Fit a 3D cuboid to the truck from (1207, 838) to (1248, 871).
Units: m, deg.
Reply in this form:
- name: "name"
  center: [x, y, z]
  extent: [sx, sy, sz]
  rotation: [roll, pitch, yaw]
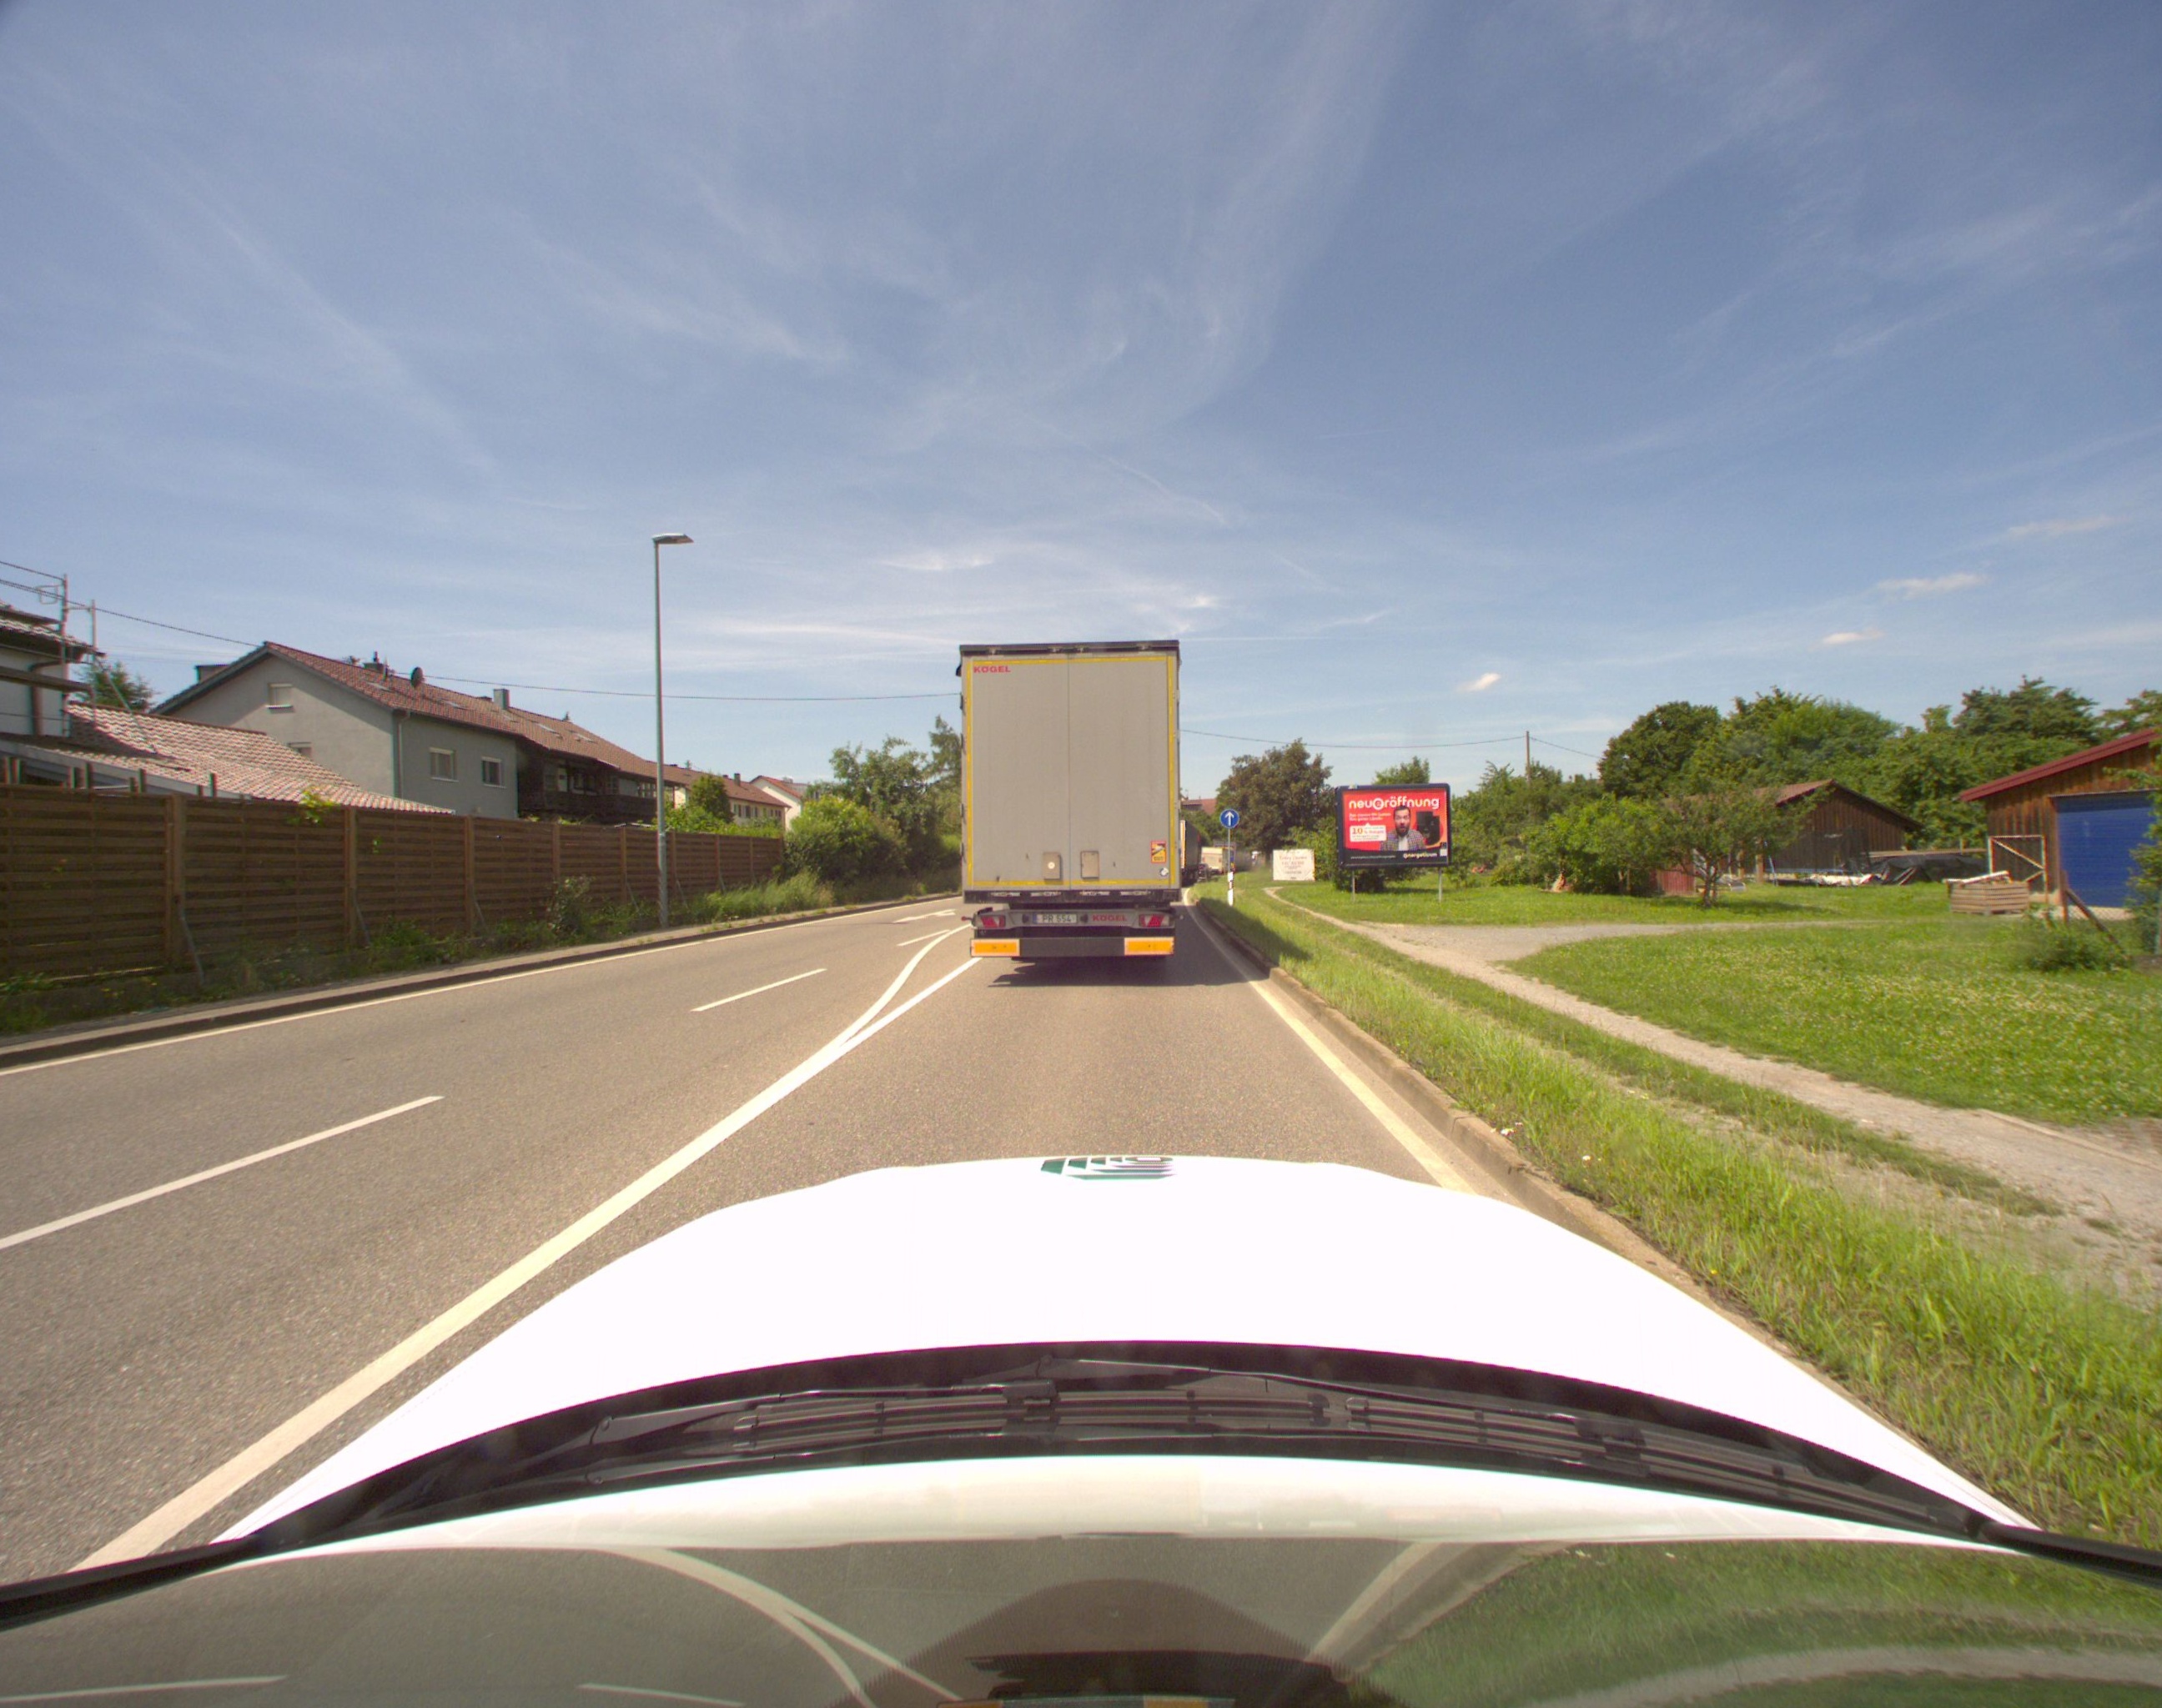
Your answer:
- name: "truck"
  center: [16.844, 0.028, 93.044]
  extent: [3.406, 3.604, 9.396]
  rotation: [-1, 0, 17]

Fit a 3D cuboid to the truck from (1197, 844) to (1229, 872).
- name: "truck"
  center: [13.521, 0.448, 83.117]
  extent: [2.524, 2.803, 6.057]
  rotation: [-1, -1, 16]

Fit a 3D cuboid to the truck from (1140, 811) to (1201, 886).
- name: "truck"
  center: [6.350, -0.177, 55.101]
  extent: [2.742, 4.289, 16.464]
  rotation: [0, -1, 11]

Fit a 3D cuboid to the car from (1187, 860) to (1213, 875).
- name: "car"
  center: [11.012, 1.237, 75.224]
  extent: [1.979, 1.376, 4.015]
  rotation: [0, -1, 14]

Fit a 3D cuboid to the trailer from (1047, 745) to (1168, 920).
- name: "trailer"
  center: [0.893, -0.505, 22.533]
  extent: [2.812, 4.111, 6.552]
  rotation: [-1, 0, 5]

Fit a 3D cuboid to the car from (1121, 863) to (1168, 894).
- name: "car"
  center: [2.958, 1.076, 37.317]
  extent: [1.808, 1.346, 3.857]
  rotation: [0, -1, 9]

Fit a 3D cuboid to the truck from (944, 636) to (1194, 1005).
- name: "truck"
  center: [0.287, -0.378, 14.918]
  extent: [2.809, 4.127, 11.457]
  rotation: [0, 0, 4]

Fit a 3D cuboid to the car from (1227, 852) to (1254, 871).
- name: "car"
  center: [19.976, 0.921, 101.815]
  extent: [2.512, 2.277, 6.410]
  rotation: [0, 0, 18]

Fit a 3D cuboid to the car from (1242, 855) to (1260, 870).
- name: "car"
  center: [23.014, 1.171, 110.382]
  extent: [1.978, 2.014, 4.018]
  rotation: [-1, -1, 17]

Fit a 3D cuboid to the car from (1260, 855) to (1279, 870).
- name: "car"
  center: [27.402, 1.239, 118.402]
  extent: [1.976, 2.014, 4.021]
  rotation: [-1, -1, 22]
